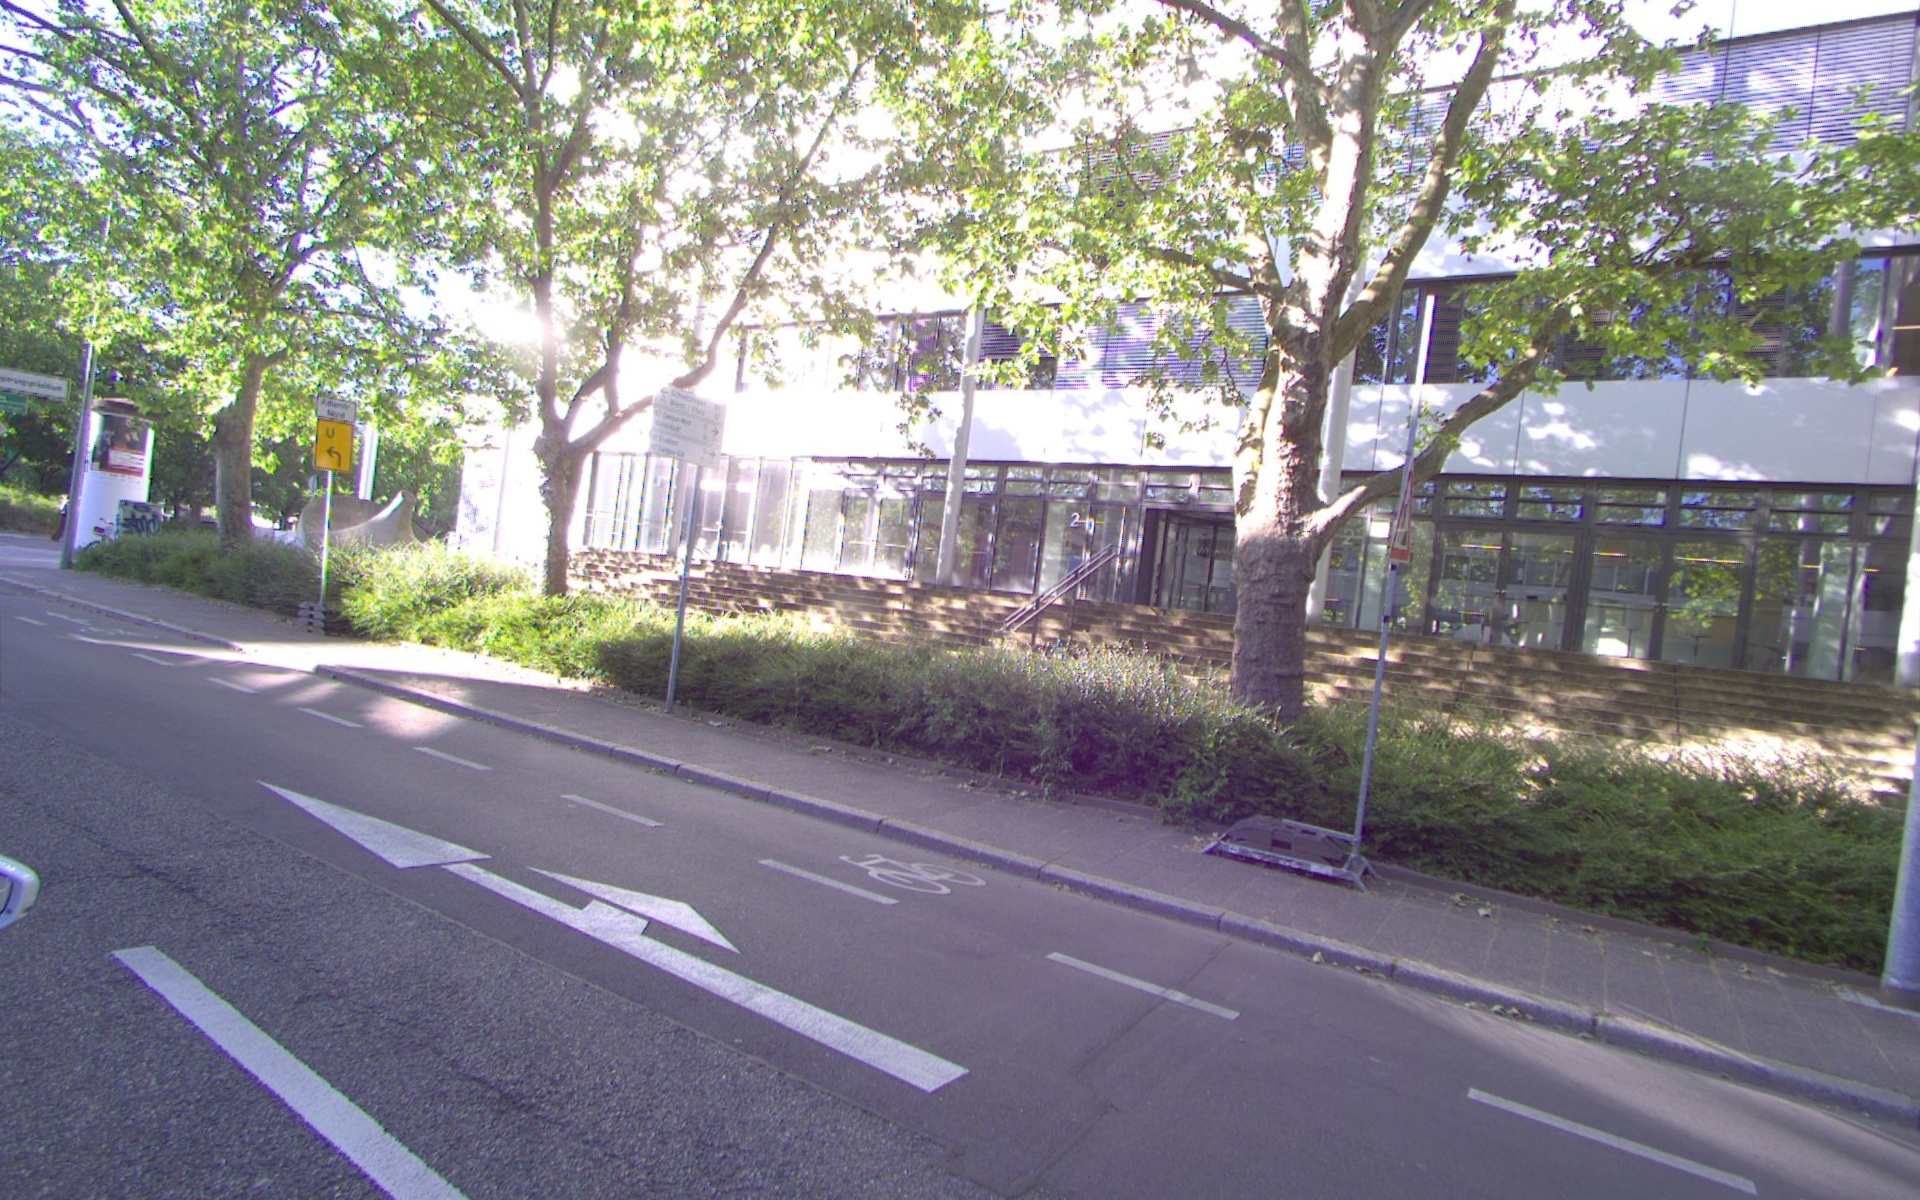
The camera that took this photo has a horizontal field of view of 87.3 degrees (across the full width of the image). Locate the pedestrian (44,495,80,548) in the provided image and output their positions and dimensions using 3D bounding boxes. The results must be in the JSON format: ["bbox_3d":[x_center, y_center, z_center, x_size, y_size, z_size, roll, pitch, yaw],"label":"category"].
[{"bbox_3d":[-32.462,-2.821,36.366,0.672,1.793,0.613,8,-1,-29],"label":"pedestrian"}]

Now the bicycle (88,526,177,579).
[{"bbox_3d":[-19.046,-1.076,23.179,0.295,0.991,1.484,6,-2,37],"label":"bicycle"}]
